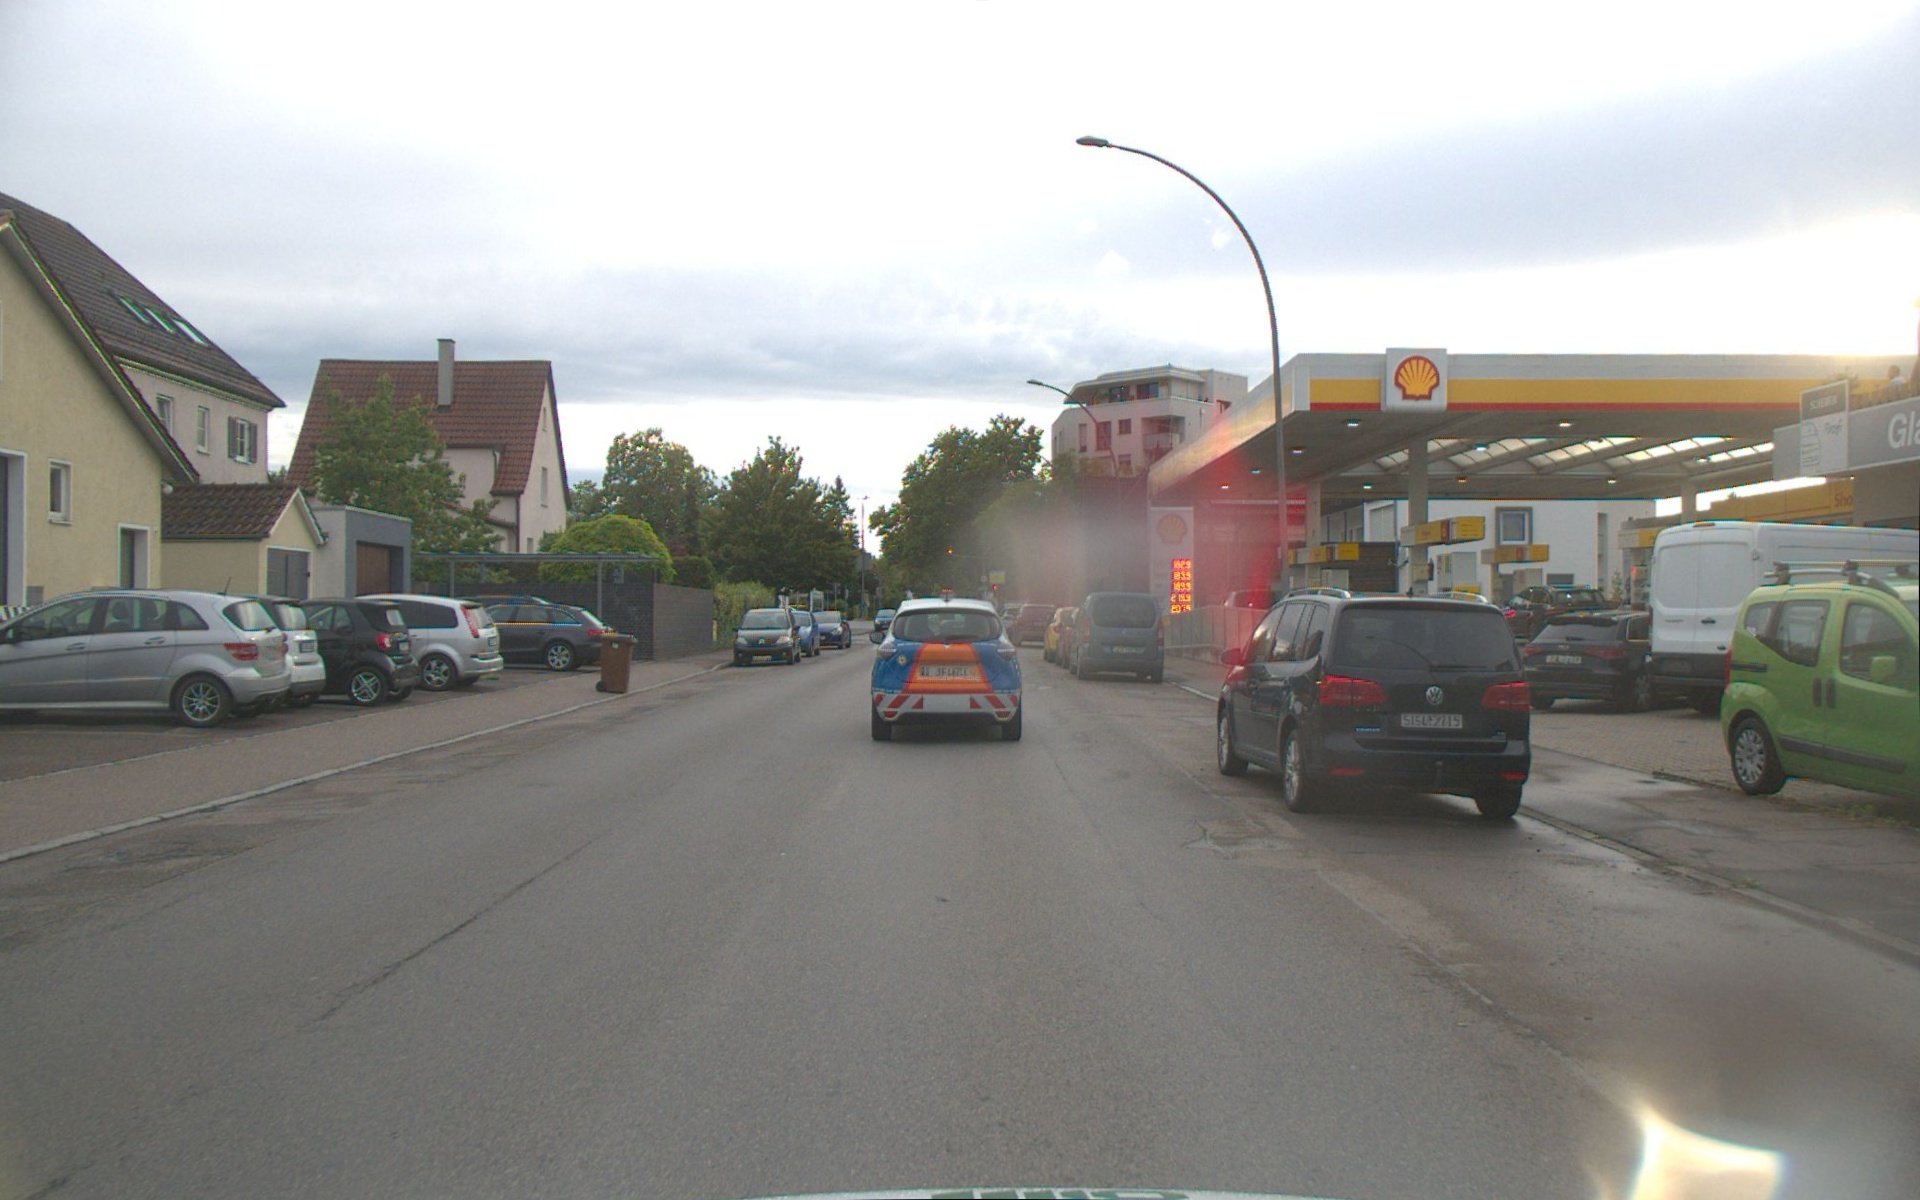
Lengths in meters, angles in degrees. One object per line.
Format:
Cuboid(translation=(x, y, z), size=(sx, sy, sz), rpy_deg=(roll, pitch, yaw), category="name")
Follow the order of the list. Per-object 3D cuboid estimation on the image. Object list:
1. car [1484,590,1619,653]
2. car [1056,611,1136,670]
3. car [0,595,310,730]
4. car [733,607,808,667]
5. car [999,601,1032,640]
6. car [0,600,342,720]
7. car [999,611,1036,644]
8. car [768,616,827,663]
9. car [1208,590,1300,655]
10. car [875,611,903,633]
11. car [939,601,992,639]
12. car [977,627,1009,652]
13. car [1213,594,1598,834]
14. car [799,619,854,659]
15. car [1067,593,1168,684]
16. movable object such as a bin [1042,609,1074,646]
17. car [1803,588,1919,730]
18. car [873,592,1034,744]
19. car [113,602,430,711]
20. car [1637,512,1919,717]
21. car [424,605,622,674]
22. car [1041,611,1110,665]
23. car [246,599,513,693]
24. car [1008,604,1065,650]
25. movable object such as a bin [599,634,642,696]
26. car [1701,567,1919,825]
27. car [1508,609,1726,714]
Cuboid(translation=(14.843, 0.509, 41.798), size=(1.704, 1.491, 4.672), rpy_deg=(0, 0, -1), category="car")
Cuboid(translation=(3.326, 0.974, 41.125), size=(1.622, 1.400, 4.024), rpy_deg=(0, 0, -1), category="car")
Cuboid(translation=(-10.386, 0.728, 20.403), size=(4.005, 1.559, 1.997), rpy_deg=(0, 0, -6), category="car")
Cuboid(translation=(-5.182, 0.994, 45.573), size=(1.575, 1.532, 3.707), rpy_deg=(-2, 0, 0), category="car")
Cuboid(translation=(3.175, 1.134, 93.944), size=(1.741, 2.064, 4.755), rpy_deg=(1, 0, 2), category="car")
Cuboid(translation=(-10.796, 0.786, 22.661), size=(4.003, 1.559, 1.812), rpy_deg=(0, 0, -4), category="car")
Cuboid(translation=(3.033, 1.434, 88.056), size=(1.827, 1.694, 4.319), rpy_deg=(0, 0, 0), category="car")
Cuboid(translation=(-5.203, 1.242, 53.324), size=(1.514, 1.427, 3.597), rpy_deg=(-2, 0, 0), category="car")
Cuboid(translation=(8.449, 0.624, 47.879), size=(1.783, 1.790, 3.998), rpy_deg=(-1, 0, -3), category="car")
Cuboid(translation=(-4.726, 1.466, 110.153), size=(1.593, 1.458, 3.684), rpy_deg=(0, 0, 2), category="car")
Cuboid(translation=(0.274, 0.876, 73.952), size=(1.951, 1.601, 4.003), rpy_deg=(1, 0, 6), category="car")
Cuboid(translation=(2.094, 2.495, 105.905), size=(1.758, 1.453, 3.998), rpy_deg=(1, 1, -3), category="car")
Cuboid(translation=(3.381, 0.778, 13.401), size=(1.953, 1.624, 3.999), rpy_deg=(-1, 0, -1), category="car")
Cuboid(translation=(-5.132, 1.474, 63.934), size=(1.770, 1.427, 3.944), rpy_deg=(-2, 0, 0), category="car")
Cuboid(translation=(3.293, 0.779, 35.266), size=(1.622, 1.768, 4.444), rpy_deg=(2, 0, -1), category="car")
Cuboid(translation=(3.747, 1.050, 63.484), size=(1.104, 1.413, 1.503), rpy_deg=(0, 0, -2), category="movable object such as a bin")
Cuboid(translation=(12.612, 0.652, 19.718), size=(4.216, 1.601, 1.896), rpy_deg=(0, 0, -4), category="car")
Cuboid(translation=(-0.075, 0.725, 19.767), size=(1.710, 1.609, 4.000), rpy_deg=(-1, 0, 0), category="car")
Cuboid(translation=(-10.165, 0.808, 24.661), size=(4.005, 1.529, 1.754), rpy_deg=(0, 0, -6), category="car")
Cuboid(translation=(11.886, 0.171, 22.558), size=(4.722, 2.565, 2.232), rpy_deg=(0, 0, -22), category="car")
Cuboid(translation=(-9.623, 0.871, 36.678), size=(4.006, 1.438, 1.711), rpy_deg=(1, 0, -7), category="car")
Cuboid(translation=(3.144, 1.025, 45.585), size=(1.622, 1.426, 3.801), rpy_deg=(0, 0, -1), category="car")
Cuboid(translation=(-9.928, 0.757, 28.559), size=(4.005, 1.540, 1.881), rpy_deg=(0, 0, -6), category="car")
Cuboid(translation=(3.044, 1.063, 66.912), size=(2.048, 1.691, 4.559), rpy_deg=(1, 0, 0), category="car")
Cuboid(translation=(-6.315, 1.204, 30.790), size=(0.583, 1.075, 0.687), rpy_deg=(4, 1, 0), category="movable object such as a bin")
Cuboid(translation=(7.305, 0.635, 11.882), size=(1.954, 1.712, 3.996), rpy_deg=(0, 0, -4), category="car")
Cuboid(translation=(9.880, 0.855, 24.741), size=(1.749, 1.399, 3.975), rpy_deg=(0, 0, 43), category="car")
